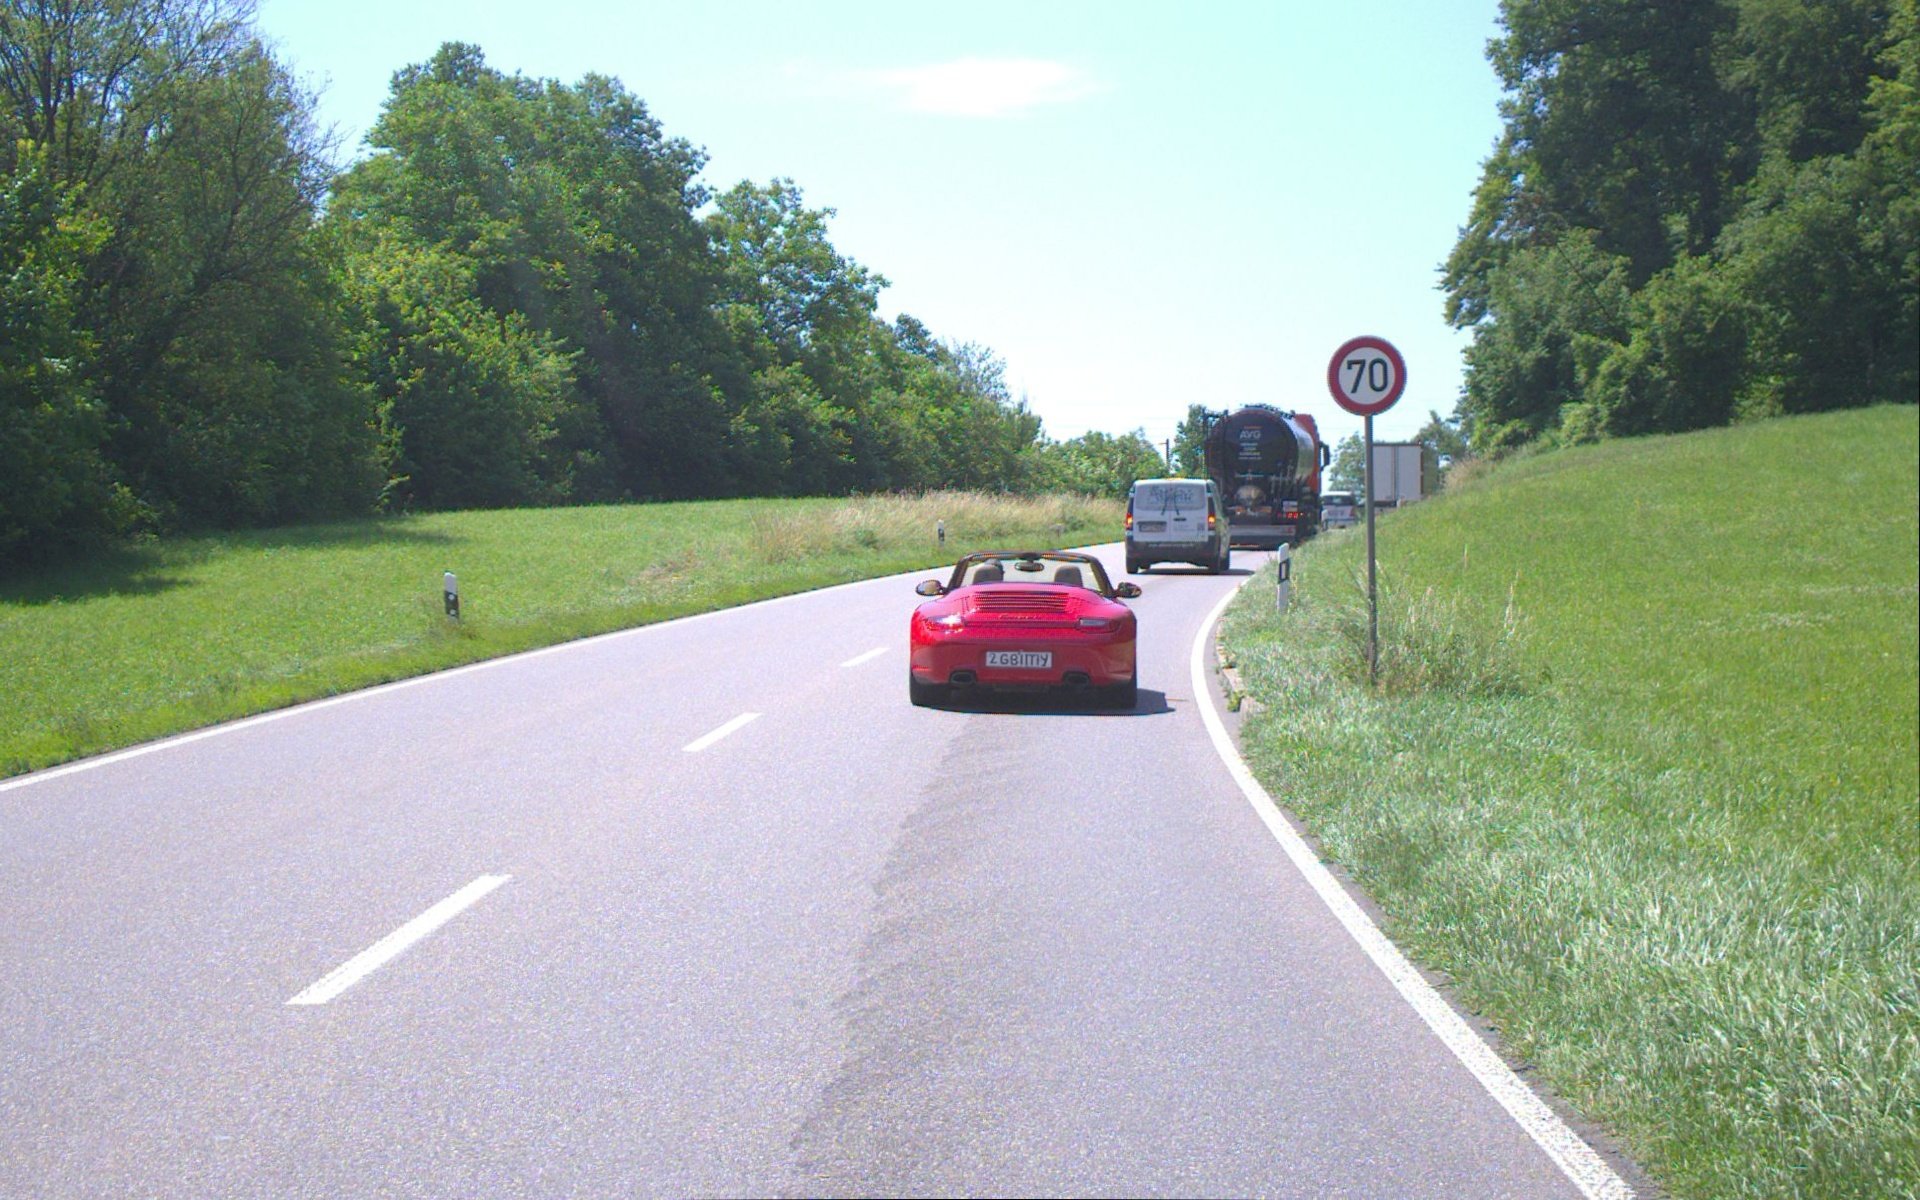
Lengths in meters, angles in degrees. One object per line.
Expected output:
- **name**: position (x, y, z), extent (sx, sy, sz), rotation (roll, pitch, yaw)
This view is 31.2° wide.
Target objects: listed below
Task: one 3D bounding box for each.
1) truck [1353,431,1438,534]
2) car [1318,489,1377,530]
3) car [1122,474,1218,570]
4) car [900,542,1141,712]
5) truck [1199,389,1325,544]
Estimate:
- **truck**: position (20.838, -5.584, 163.958), extent (3.726, 4.644, 12.027), rotation (-1, 2, 8)
- **car**: position (14.834, -3.481, 131.404), extent (1.832, 1.508, 4.189), rotation (-1, 2, 12)
- **car**: position (4.312, -1.622, 70.133), extent (1.679, 1.894, 4.009), rotation (0, 2, 8)
- **car**: position (0.459, 0.179, 29.078), extent (1.882, 1.250, 4.010), rotation (1, 2, -1)
- **truck**: position (8.642, -3.744, 97.075), extent (2.405, 4.035, 12.546), rotation (2, 2, 10)
